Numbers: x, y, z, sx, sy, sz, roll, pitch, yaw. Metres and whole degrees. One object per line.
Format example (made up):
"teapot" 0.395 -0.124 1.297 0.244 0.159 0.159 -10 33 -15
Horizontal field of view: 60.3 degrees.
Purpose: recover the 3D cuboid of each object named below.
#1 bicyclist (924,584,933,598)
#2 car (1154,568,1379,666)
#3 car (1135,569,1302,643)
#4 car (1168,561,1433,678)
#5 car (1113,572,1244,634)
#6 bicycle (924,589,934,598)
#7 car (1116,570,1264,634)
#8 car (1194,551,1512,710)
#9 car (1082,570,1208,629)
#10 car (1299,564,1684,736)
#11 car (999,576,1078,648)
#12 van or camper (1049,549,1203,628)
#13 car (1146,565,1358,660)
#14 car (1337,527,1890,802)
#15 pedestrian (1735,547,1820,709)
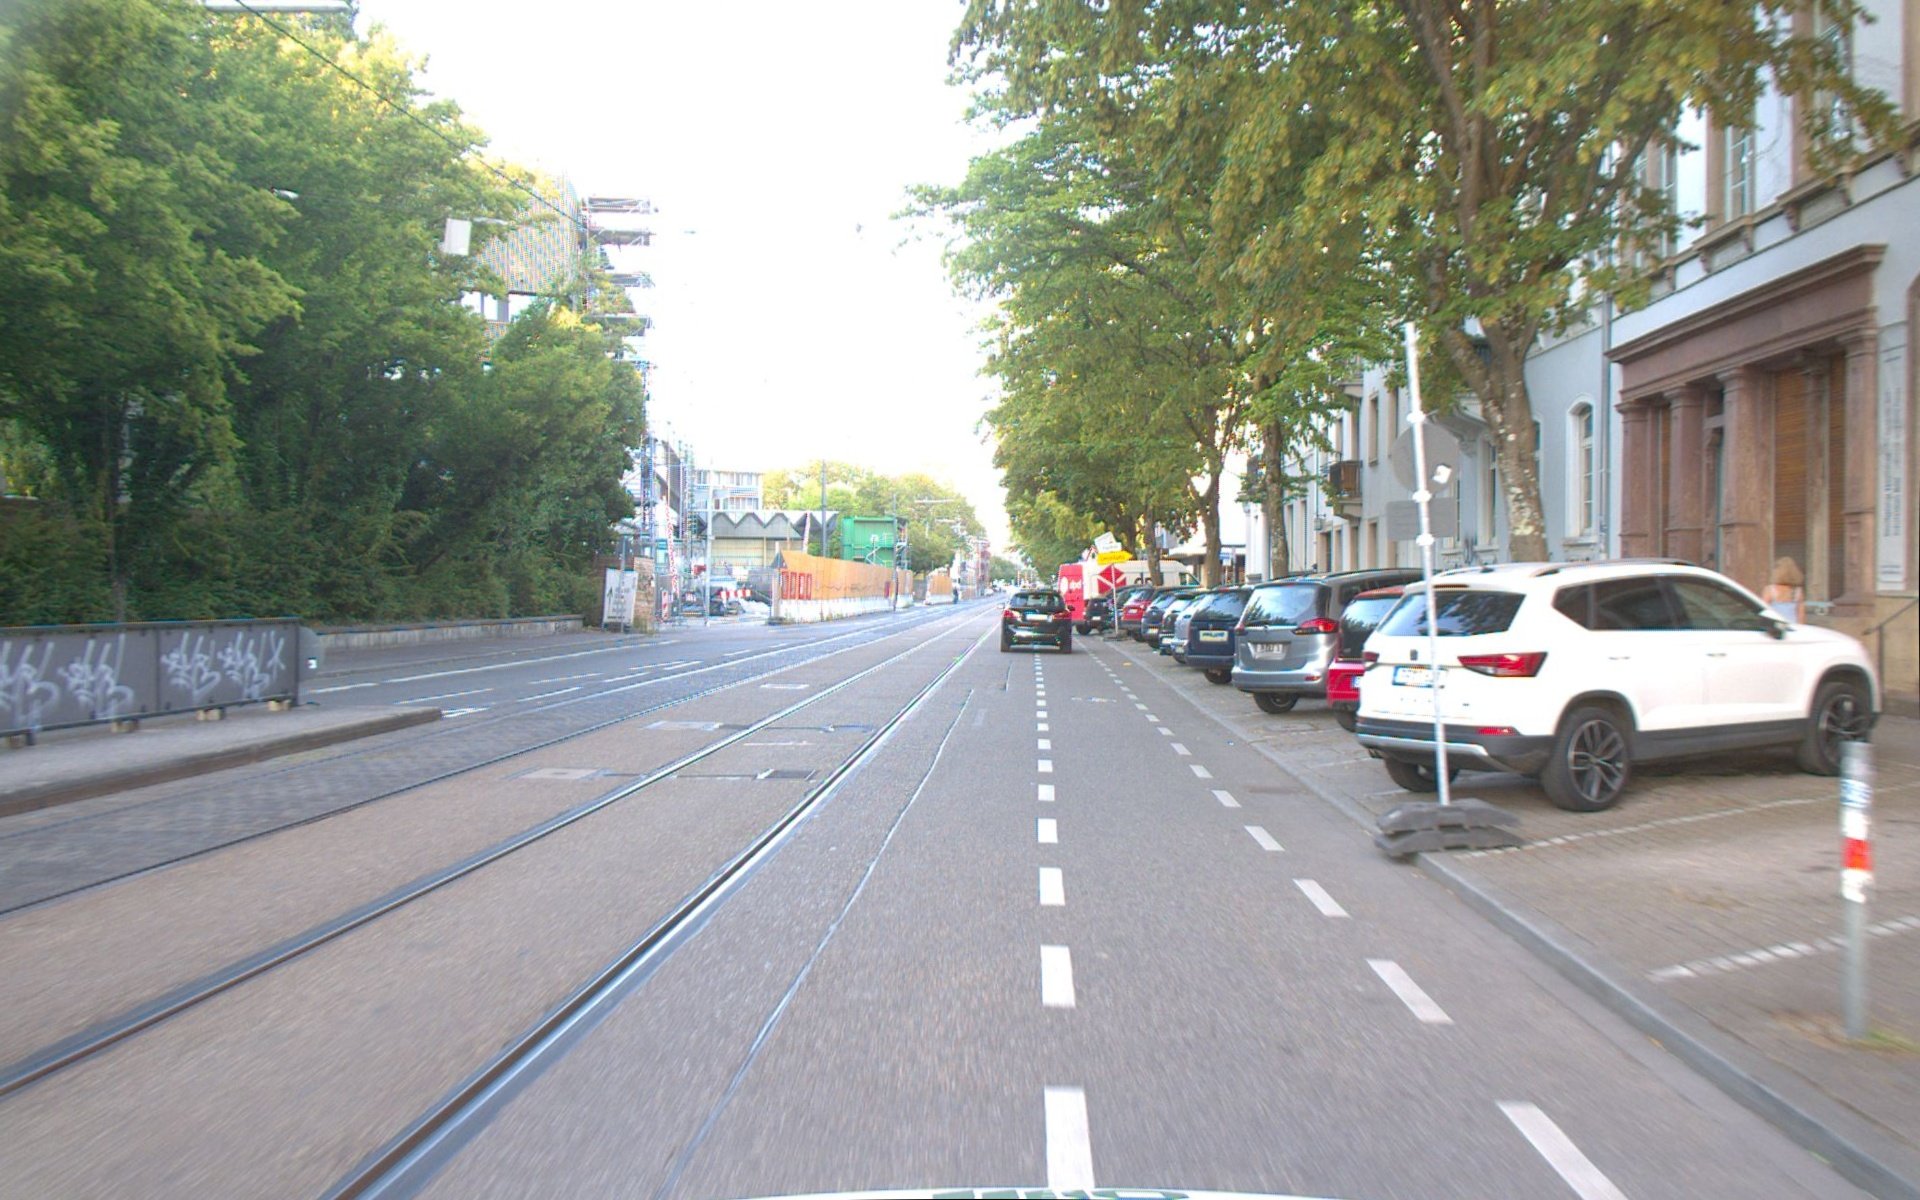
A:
"bicyclist" -3.098 -0.931 162.683 0.925 1.369 1.111 0 1 0
"car" 5.718 0.290 30.787 3.905 1.631 1.820 -2 0 -33
"car" 6.613 0.138 42.266 3.901 1.631 1.822 -4 0 -30
"car" 5.443 0.282 26.372 3.900 1.631 1.822 -3 0 -30
"car" 7.250 0.103 54.893 3.891 1.796 1.826 -3 0 -24
"bicycle" -3.101 -0.680 163.462 0.928 0.864 2.696 0 0 0
"car" 6.767 0.060 48.639 3.891 1.631 1.826 -3 0 -24
"car" 4.942 0.333 20.552 3.920 1.697 1.874 -3 0 -41
"car" 6.426 -0.018 57.438 3.891 1.796 1.826 -3 0 -24
"car" 5.649 0.449 17.465 3.906 1.503 1.810 -3 2 -33
"car" 1.955 0.273 41.773 1.843 1.648 4.001 2 1 2
"van or camper" 6.123 -0.448 60.744 5.480 2.574 2.063 -3 0 -33
"car" 5.863 0.237 33.138 3.901 1.631 1.822 -3 0 -30
"car" 4.840 0.363 12.158 3.898 1.655 1.659 -3 2 -28
"pedestrian" 8.434 0.280 17.080 0.574 1.637 0.625 0 0 3
